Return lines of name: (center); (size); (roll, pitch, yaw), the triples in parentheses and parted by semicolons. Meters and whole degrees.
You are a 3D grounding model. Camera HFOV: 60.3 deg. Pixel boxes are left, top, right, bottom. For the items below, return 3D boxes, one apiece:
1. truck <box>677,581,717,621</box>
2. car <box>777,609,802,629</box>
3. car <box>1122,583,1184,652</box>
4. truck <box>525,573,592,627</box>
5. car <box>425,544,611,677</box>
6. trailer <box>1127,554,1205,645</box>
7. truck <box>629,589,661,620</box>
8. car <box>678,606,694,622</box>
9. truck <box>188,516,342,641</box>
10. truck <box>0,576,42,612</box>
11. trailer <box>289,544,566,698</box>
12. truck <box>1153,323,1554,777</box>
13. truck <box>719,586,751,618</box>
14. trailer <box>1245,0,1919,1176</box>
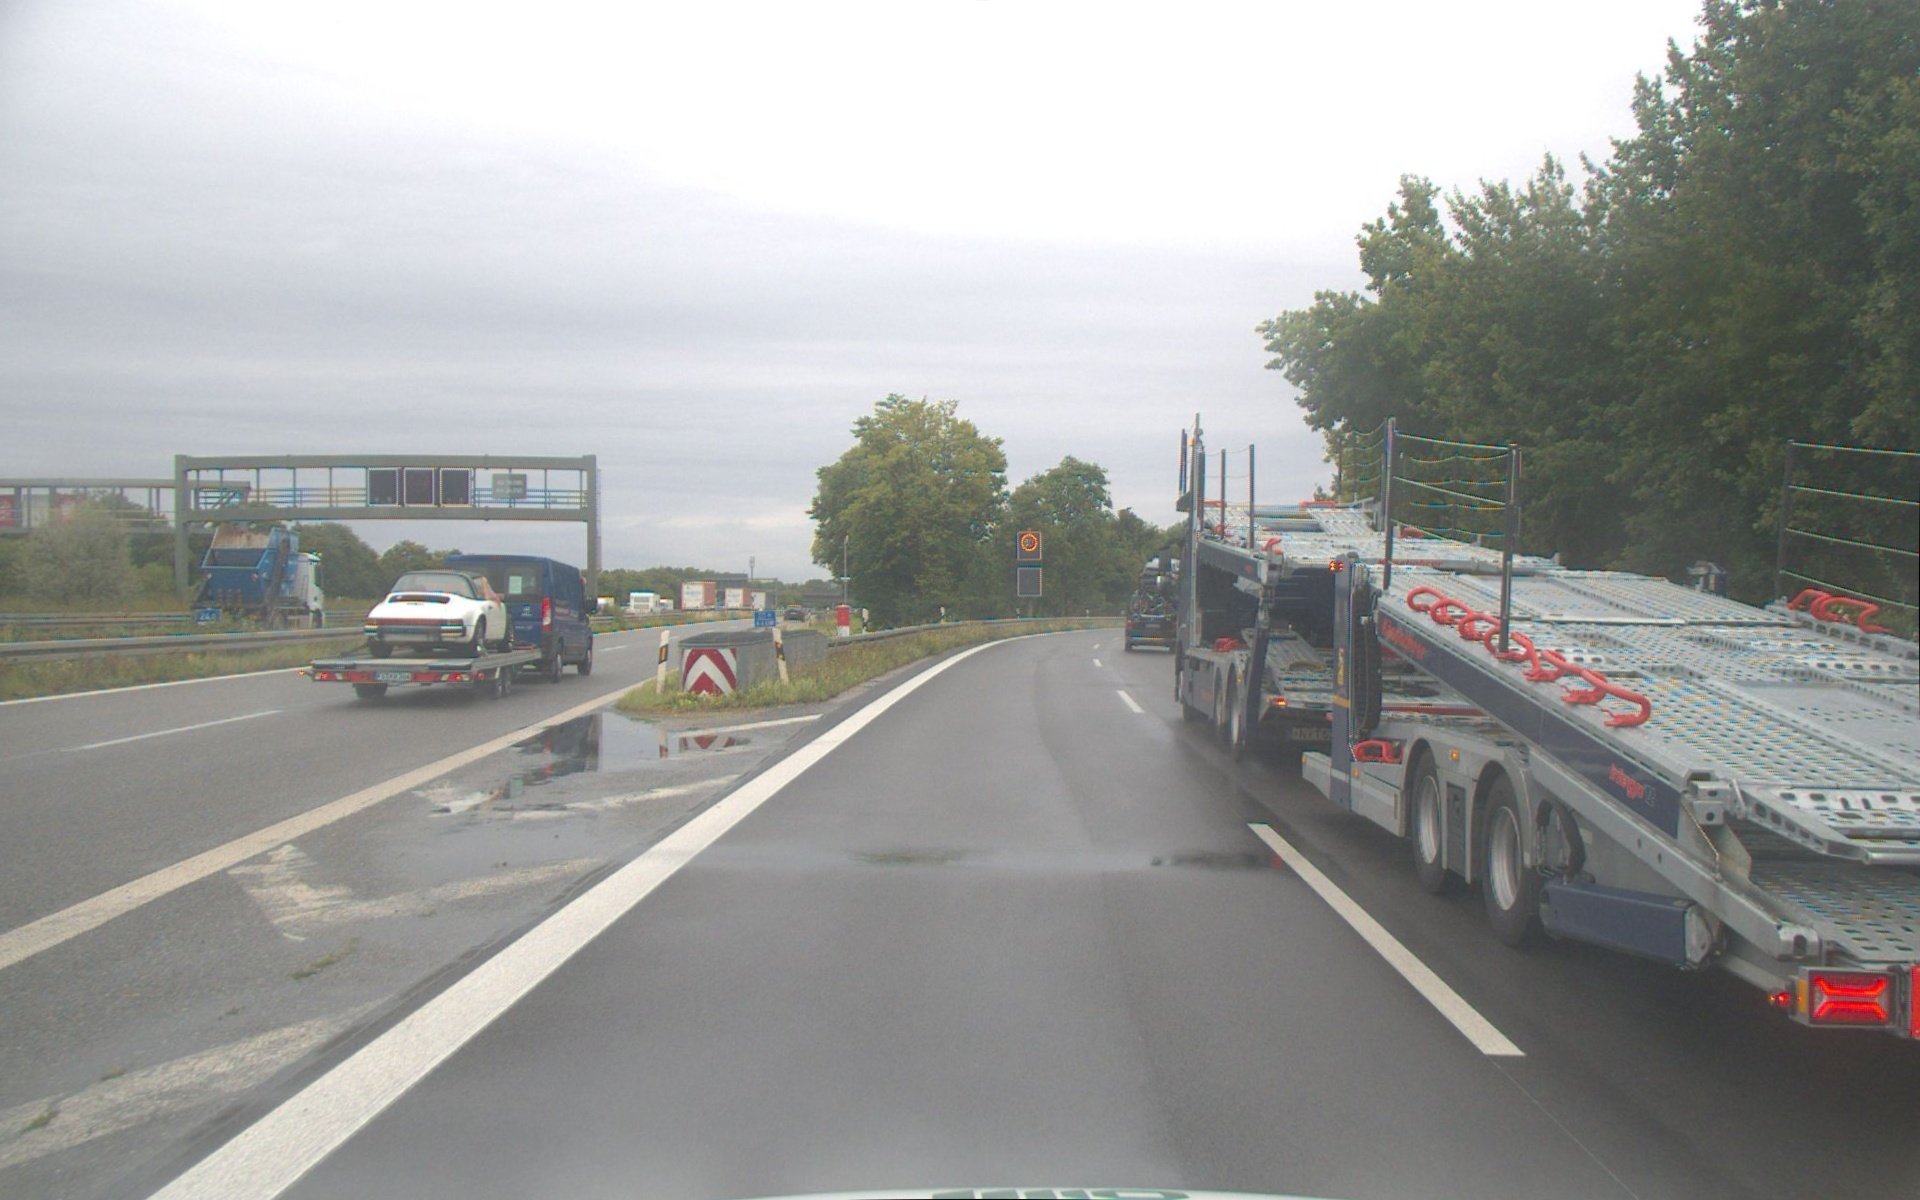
truck: (-30.818, 0.091, 194.230); (3.659, 4.494, 10.187); (1, 0, -4)
car: (-14.863, 1.639, 144.689); (1.922, 1.666, 5.620); (1, -1, -4)
car: (6.901, 0.595, 58.750); (2.065, 2.304, 5.901); (1, 0, 8)
truck: (-26.688, 0.001, 110.240); (2.800, 3.424, 8.624); (1, 0, -4)
car: (-8.487, 0.212, 32.452); (2.326, 2.306, 6.251); (1, 0, -4)
trailer: (10.360, -0.014, 83.396); (3.376, 4.069, 12.035); (3, 0, 7)
truck: (-28.681, 0.393, 150.780); (2.199, 2.751, 5.275); (1, 0, -4)
car: (-36.660, 1.911, 221.242); (1.695, 2.049, 3.997); (1, -1, -4)
truck: (-23.384, -0.625, 56.046); (2.587, 3.879, 7.335); (1, -1, -5)
truck: (-56.564, -0.372, 95.916); (1.953, 2.049, 8.810); (1, -1, -2)
trailer: (-8.014, 0.307, 25.842); (2.436, 2.029, 7.057); (1, 0, -4)
truck: (4.071, -0.443, 19.421); (2.682, 4.037, 9.129); (1, 0, 1)
truck: (-33.024, 0.247, 242.873); (3.659, 4.494, 11.887); (1, 0, -4)
trailer: (3.857, -0.093, 9.612); (2.720, 3.342, 10.408); (1, 0, 1)
